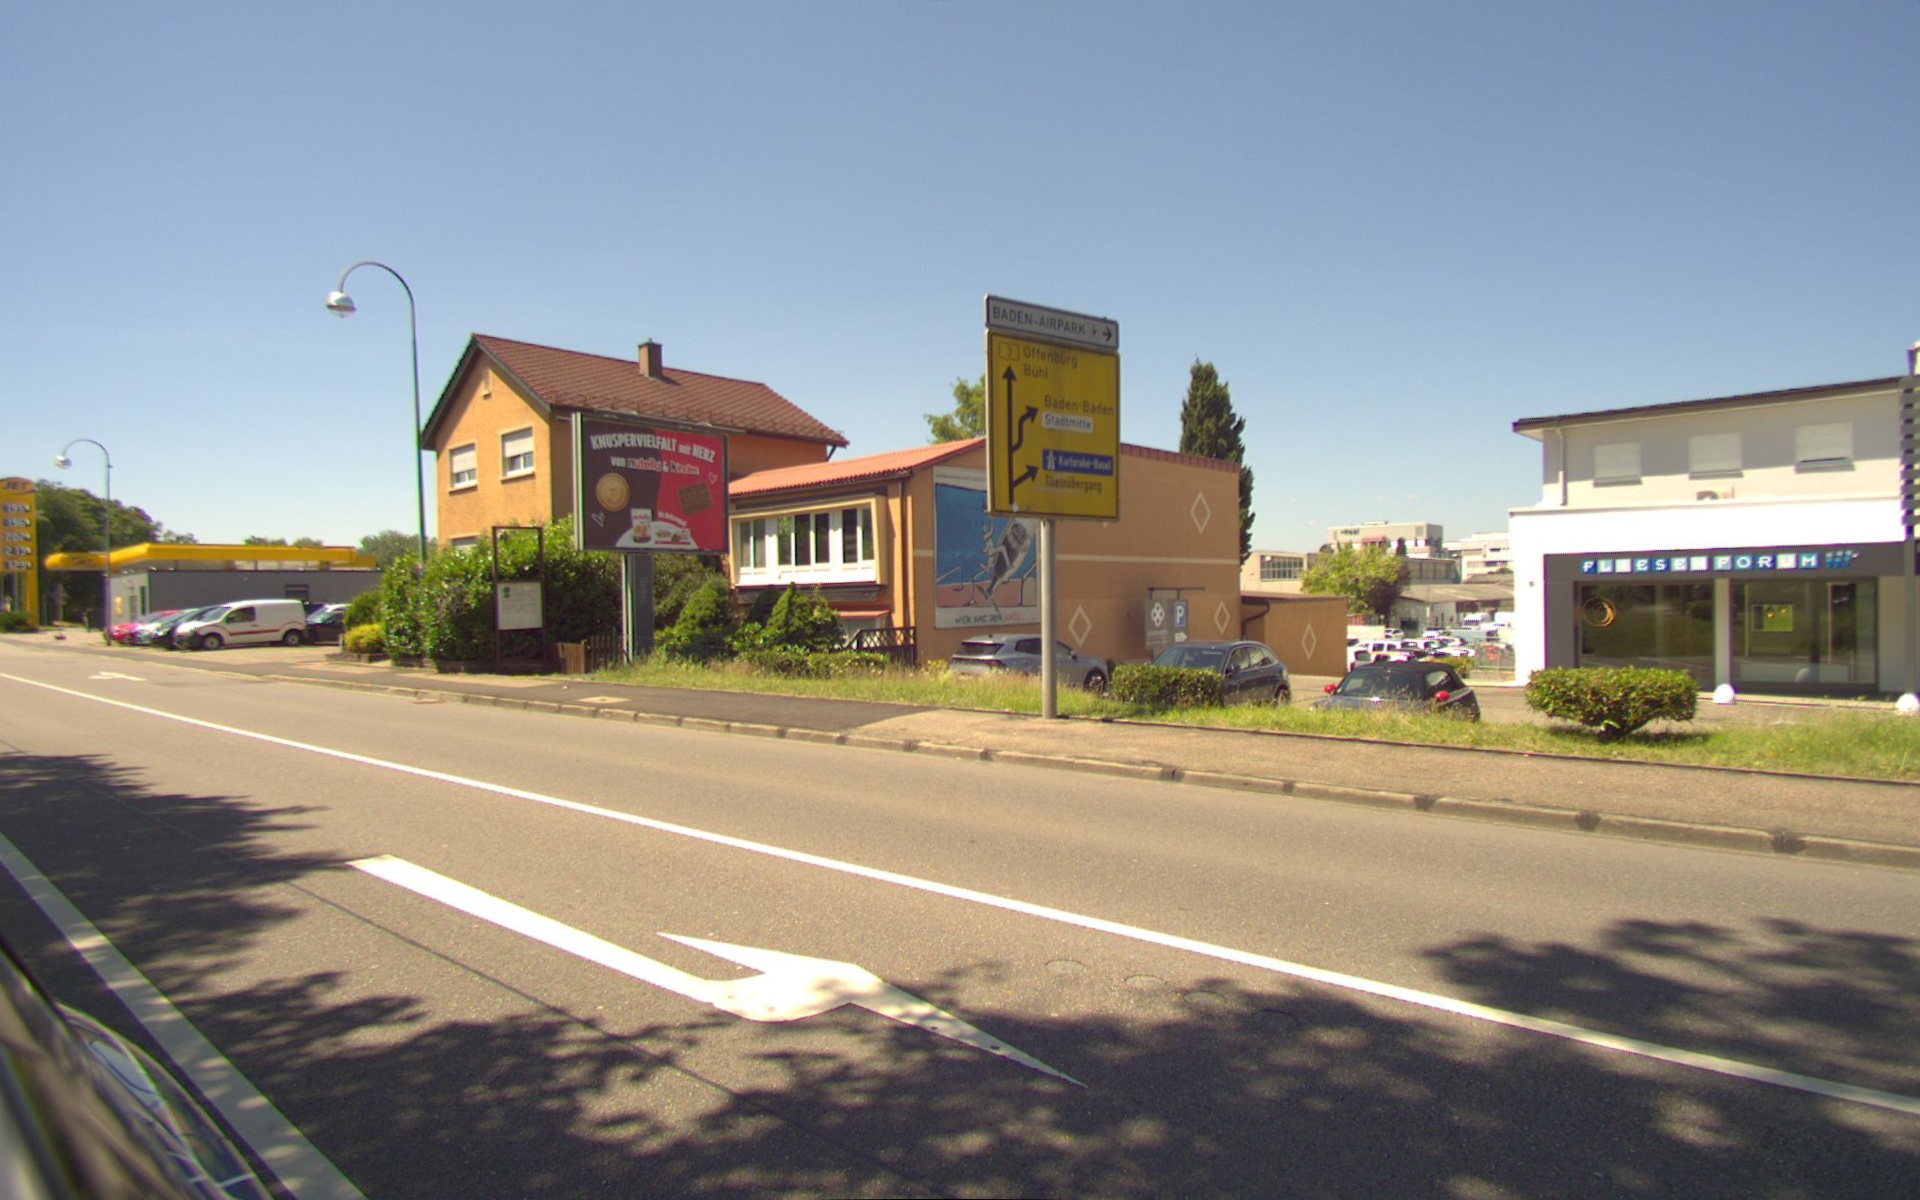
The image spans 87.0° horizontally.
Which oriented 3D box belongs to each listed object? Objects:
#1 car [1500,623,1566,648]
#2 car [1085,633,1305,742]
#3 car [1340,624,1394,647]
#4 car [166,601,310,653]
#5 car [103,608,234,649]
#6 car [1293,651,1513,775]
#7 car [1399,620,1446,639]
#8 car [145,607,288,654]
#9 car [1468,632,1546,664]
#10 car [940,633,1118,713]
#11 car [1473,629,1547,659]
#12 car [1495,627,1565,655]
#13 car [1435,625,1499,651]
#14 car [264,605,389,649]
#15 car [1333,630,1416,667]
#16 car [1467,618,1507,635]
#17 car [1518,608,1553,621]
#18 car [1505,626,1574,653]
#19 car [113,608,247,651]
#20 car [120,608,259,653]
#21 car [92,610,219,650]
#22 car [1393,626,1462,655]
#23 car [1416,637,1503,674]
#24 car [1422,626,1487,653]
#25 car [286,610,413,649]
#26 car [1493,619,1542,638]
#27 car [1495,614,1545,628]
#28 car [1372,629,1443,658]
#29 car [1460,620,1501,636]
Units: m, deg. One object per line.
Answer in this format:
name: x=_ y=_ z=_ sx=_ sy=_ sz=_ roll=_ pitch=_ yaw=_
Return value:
car: x=42.768 y=2.646 z=75.578 sx=4.055 sy=1.768 sz=1.707 roll=-1 pitch=-1 yaw=44
car: x=4.393 y=1.487 z=18.519 sx=4.462 sy=1.654 sz=1.772 roll=0 pitch=-1 yaw=-44
car: x=33.973 y=2.948 z=84.555 sx=3.774 sy=1.768 sz=1.707 roll=-1 pitch=-1 yaw=44
car: x=-27.551 y=0.994 z=38.740 sx=1.871 sy=1.883 sz=4.143 roll=-1 pitch=-1 yaw=35
car: x=-35.933 y=1.273 z=46.037 sx=1.871 sy=1.773 sz=4.351 roll=-1 pitch=-1 yaw=35
car: x=7.097 y=1.657 z=16.036 sx=4.039 sy=1.544 sz=1.772 roll=0 pitch=-1 yaw=-44
car: x=44.332 y=2.793 z=97.095 sx=3.774 sy=1.768 sz=1.707 roll=-1 pitch=-1 yaw=44
car: x=-29.294 y=1.157 z=40.007 sx=1.871 sy=1.773 sz=4.198 roll=-1 pitch=-1 yaw=35
car: x=32.379 y=2.795 z=59.967 sx=3.774 sy=1.768 sz=1.707 roll=-1 pitch=-1 yaw=44
car: x=1.673 y=1.619 z=23.629 sx=4.165 sy=1.621 sz=1.773 roll=0 pitch=-1 yaw=-42
car: x=34.758 y=2.762 z=63.988 sx=3.774 sy=1.768 sz=1.707 roll=-1 pitch=-1 yaw=44
car: x=38.059 y=2.714 z=67.656 sx=3.774 sy=1.768 sz=1.707 roll=-1 pitch=-1 yaw=44
car: x=36.533 y=2.733 z=72.984 sx=3.774 sy=1.768 sz=1.707 roll=-1 pitch=-1 yaw=44
car: x=-27.935 y=1.150 z=44.748 sx=1.871 sy=1.839 sz=4.351 roll=-1 pitch=-1 yaw=35
car: x=23.919 y=2.770 z=58.506 sx=4.001 sy=2.029 sz=1.971 roll=-1 pitch=-1 yaw=44
car: x=61.202 y=3.047 z=117.503 sx=3.774 sy=1.768 sz=1.707 roll=-1 pitch=2 yaw=44
car: x=77.172 y=1.966 z=135.755 sx=3.774 sy=1.768 sz=1.707 roll=-1 pitch=-1 yaw=44
car: x=39.776 y=2.691 z=69.506 sx=3.774 sy=1.768 sz=1.707 roll=-1 pitch=-1 yaw=44
car: x=-34.239 y=1.267 z=44.521 sx=1.871 sy=1.773 sz=4.351 roll=-1 pitch=-1 yaw=35
car: x=-32.646 y=1.257 z=42.974 sx=1.871 sy=1.773 sz=4.351 roll=-1 pitch=-1 yaw=35
car: x=-37.772 y=1.361 z=47.600 sx=1.871 sy=1.773 sz=4.351 roll=-1 pitch=-1 yaw=35
car: x=31.117 y=2.675 z=67.430 sx=3.774 sy=1.768 sz=1.707 roll=-1 pitch=0 yaw=44
car: x=26.127 y=2.879 z=53.006 sx=3.774 sy=1.768 sz=1.707 roll=-1 pitch=-1 yaw=44
car: x=34.517 y=2.757 z=70.708 sx=3.774 sy=1.768 sz=1.707 roll=-1 pitch=-1 yaw=44
car: x=-26.166 y=1.221 z=43.512 sx=1.871 sy=1.575 sz=4.351 roll=-1 pitch=-1 yaw=35
car: x=53.011 y=2.719 z=96.250 sx=3.774 sy=1.768 sz=1.707 roll=-1 pitch=0 yaw=44
car: x=71.717 y=2.639 z=129.624 sx=5.303 sy=1.768 sz=2.037 roll=-1 pitch=-1 yaw=44
car: x=28.309 y=2.716 z=64.045 sx=3.774 sy=1.768 sz=1.707 roll=-1 pitch=-1 yaw=44
car: x=57.708 y=3.088 z=112.218 sx=1.706 sy=1.768 sz=3.775 roll=-2 pitch=1 yaw=-45
